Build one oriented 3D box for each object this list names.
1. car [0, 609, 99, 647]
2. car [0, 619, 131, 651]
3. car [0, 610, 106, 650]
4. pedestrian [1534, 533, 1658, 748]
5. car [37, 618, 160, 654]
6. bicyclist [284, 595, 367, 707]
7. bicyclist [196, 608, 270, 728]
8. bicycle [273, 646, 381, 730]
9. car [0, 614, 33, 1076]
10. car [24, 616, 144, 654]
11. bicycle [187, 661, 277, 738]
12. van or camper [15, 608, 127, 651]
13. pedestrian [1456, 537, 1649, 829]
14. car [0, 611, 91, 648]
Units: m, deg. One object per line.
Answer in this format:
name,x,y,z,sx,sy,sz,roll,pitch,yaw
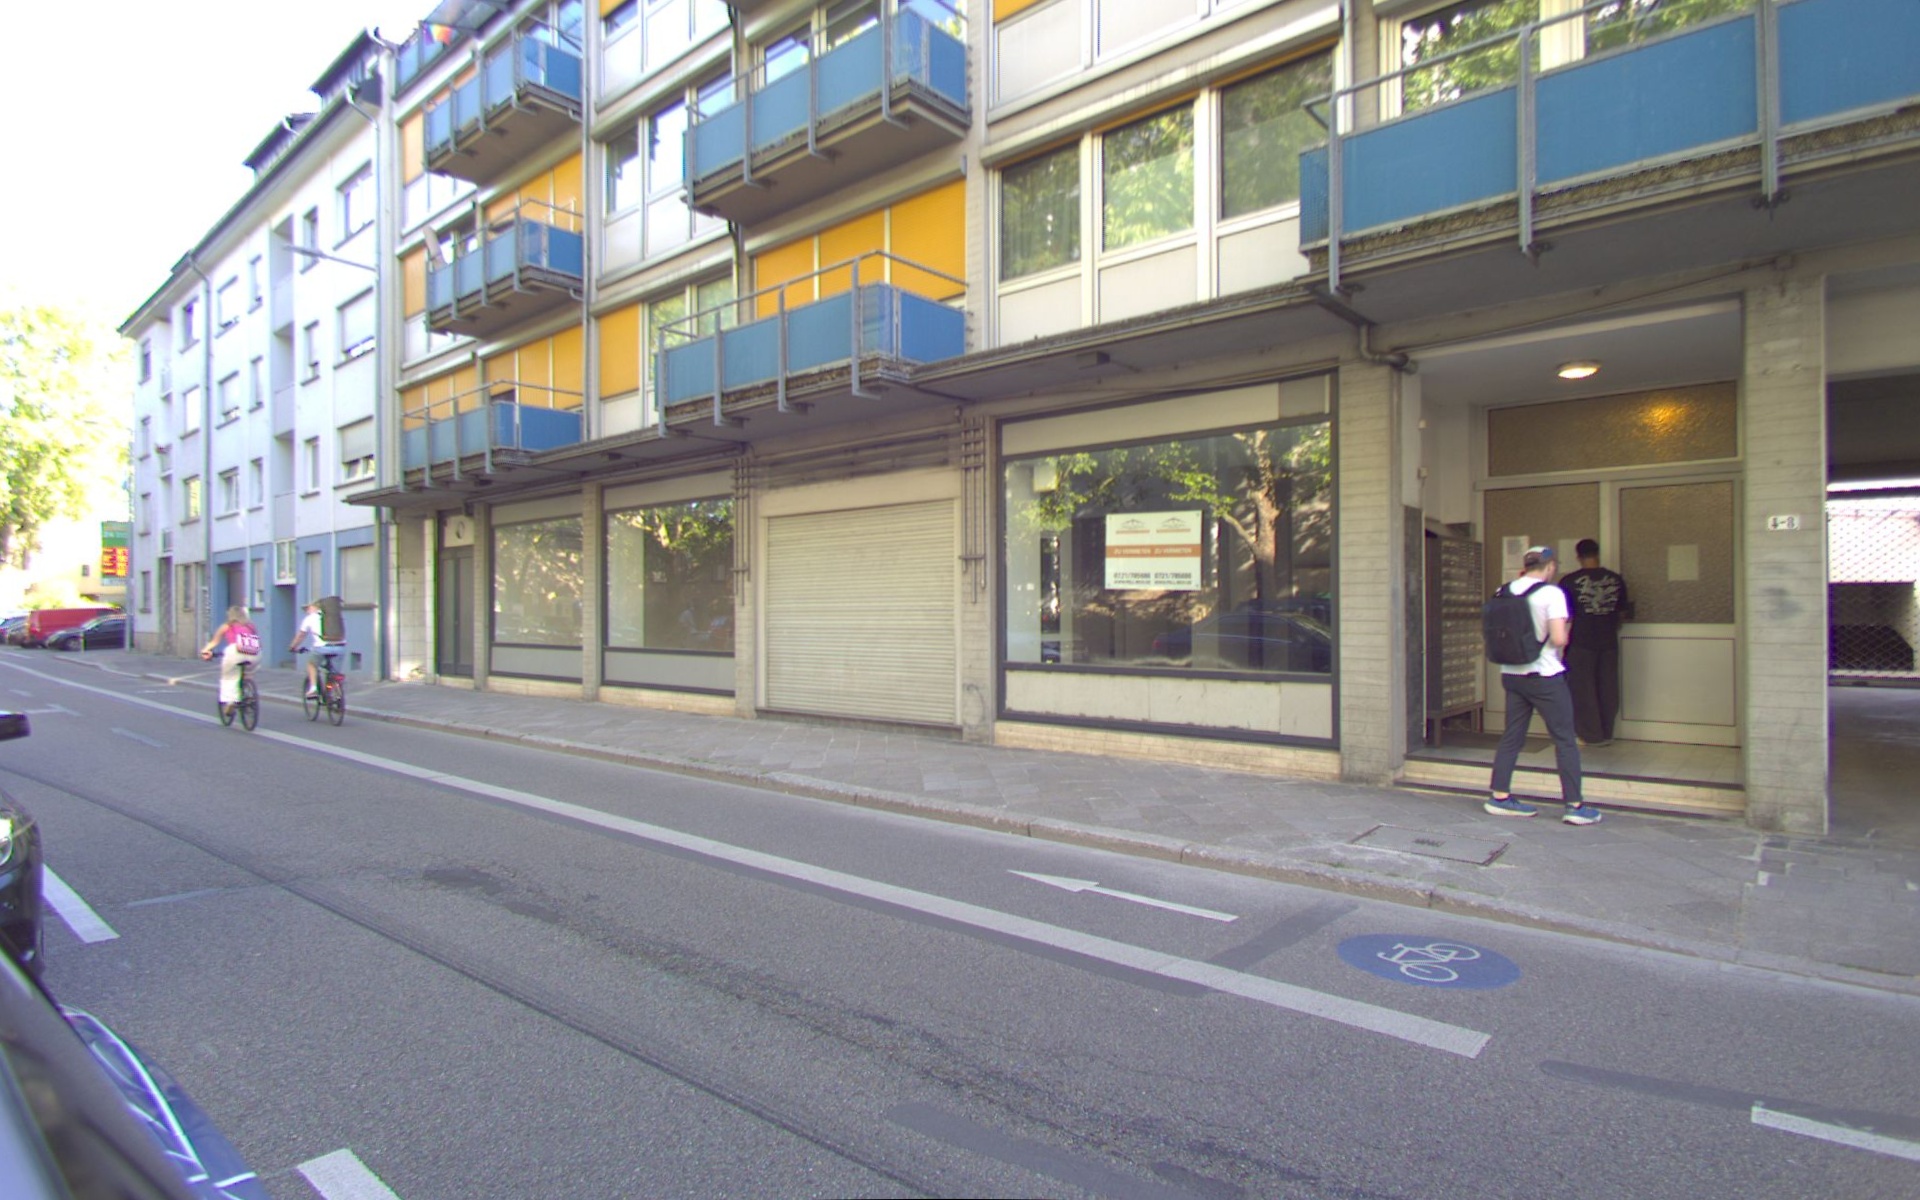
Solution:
car,-55.398,1.674,61.146,1.999,2.210,4.927,-1,-1,41
car,-45.718,1.753,51.696,1.999,1.506,4.927,-1,-1,41
car,-53.311,1.739,59.195,1.999,2.210,4.927,-1,-1,41
pedestrian,5.319,0.324,8.484,0.650,1.726,0.550,0,-1,-16
car,-39.749,1.634,46.777,1.999,1.506,4.093,-1,-1,41
bicyclist,-9.247,0.725,14.750,0.839,1.566,0.833,-1,-1,42
bicyclist,-10.055,0.910,13.984,0.982,1.590,0.677,-2,-1,44
bicycle,-9.265,1.245,14.784,1.835,1.087,0.854,-1,-1,41
car,-5.031,0.813,3.877,3.861,1.467,1.718,-1,-1,40
car,-41.629,1.622,48.162,1.999,1.703,4.093,-1,-1,41
bicycle,-10.146,1.347,14.072,1.863,0.936,0.686,-1,-1,43
van or camper,-43.885,1.433,50.004,1.999,2.029,3.946,-1,-1,40
pedestrian,3.852,0.522,6.632,0.868,1.813,0.600,-2,0,5
car,-57.392,1.825,62.855,1.999,2.210,4.927,-1,-1,41
